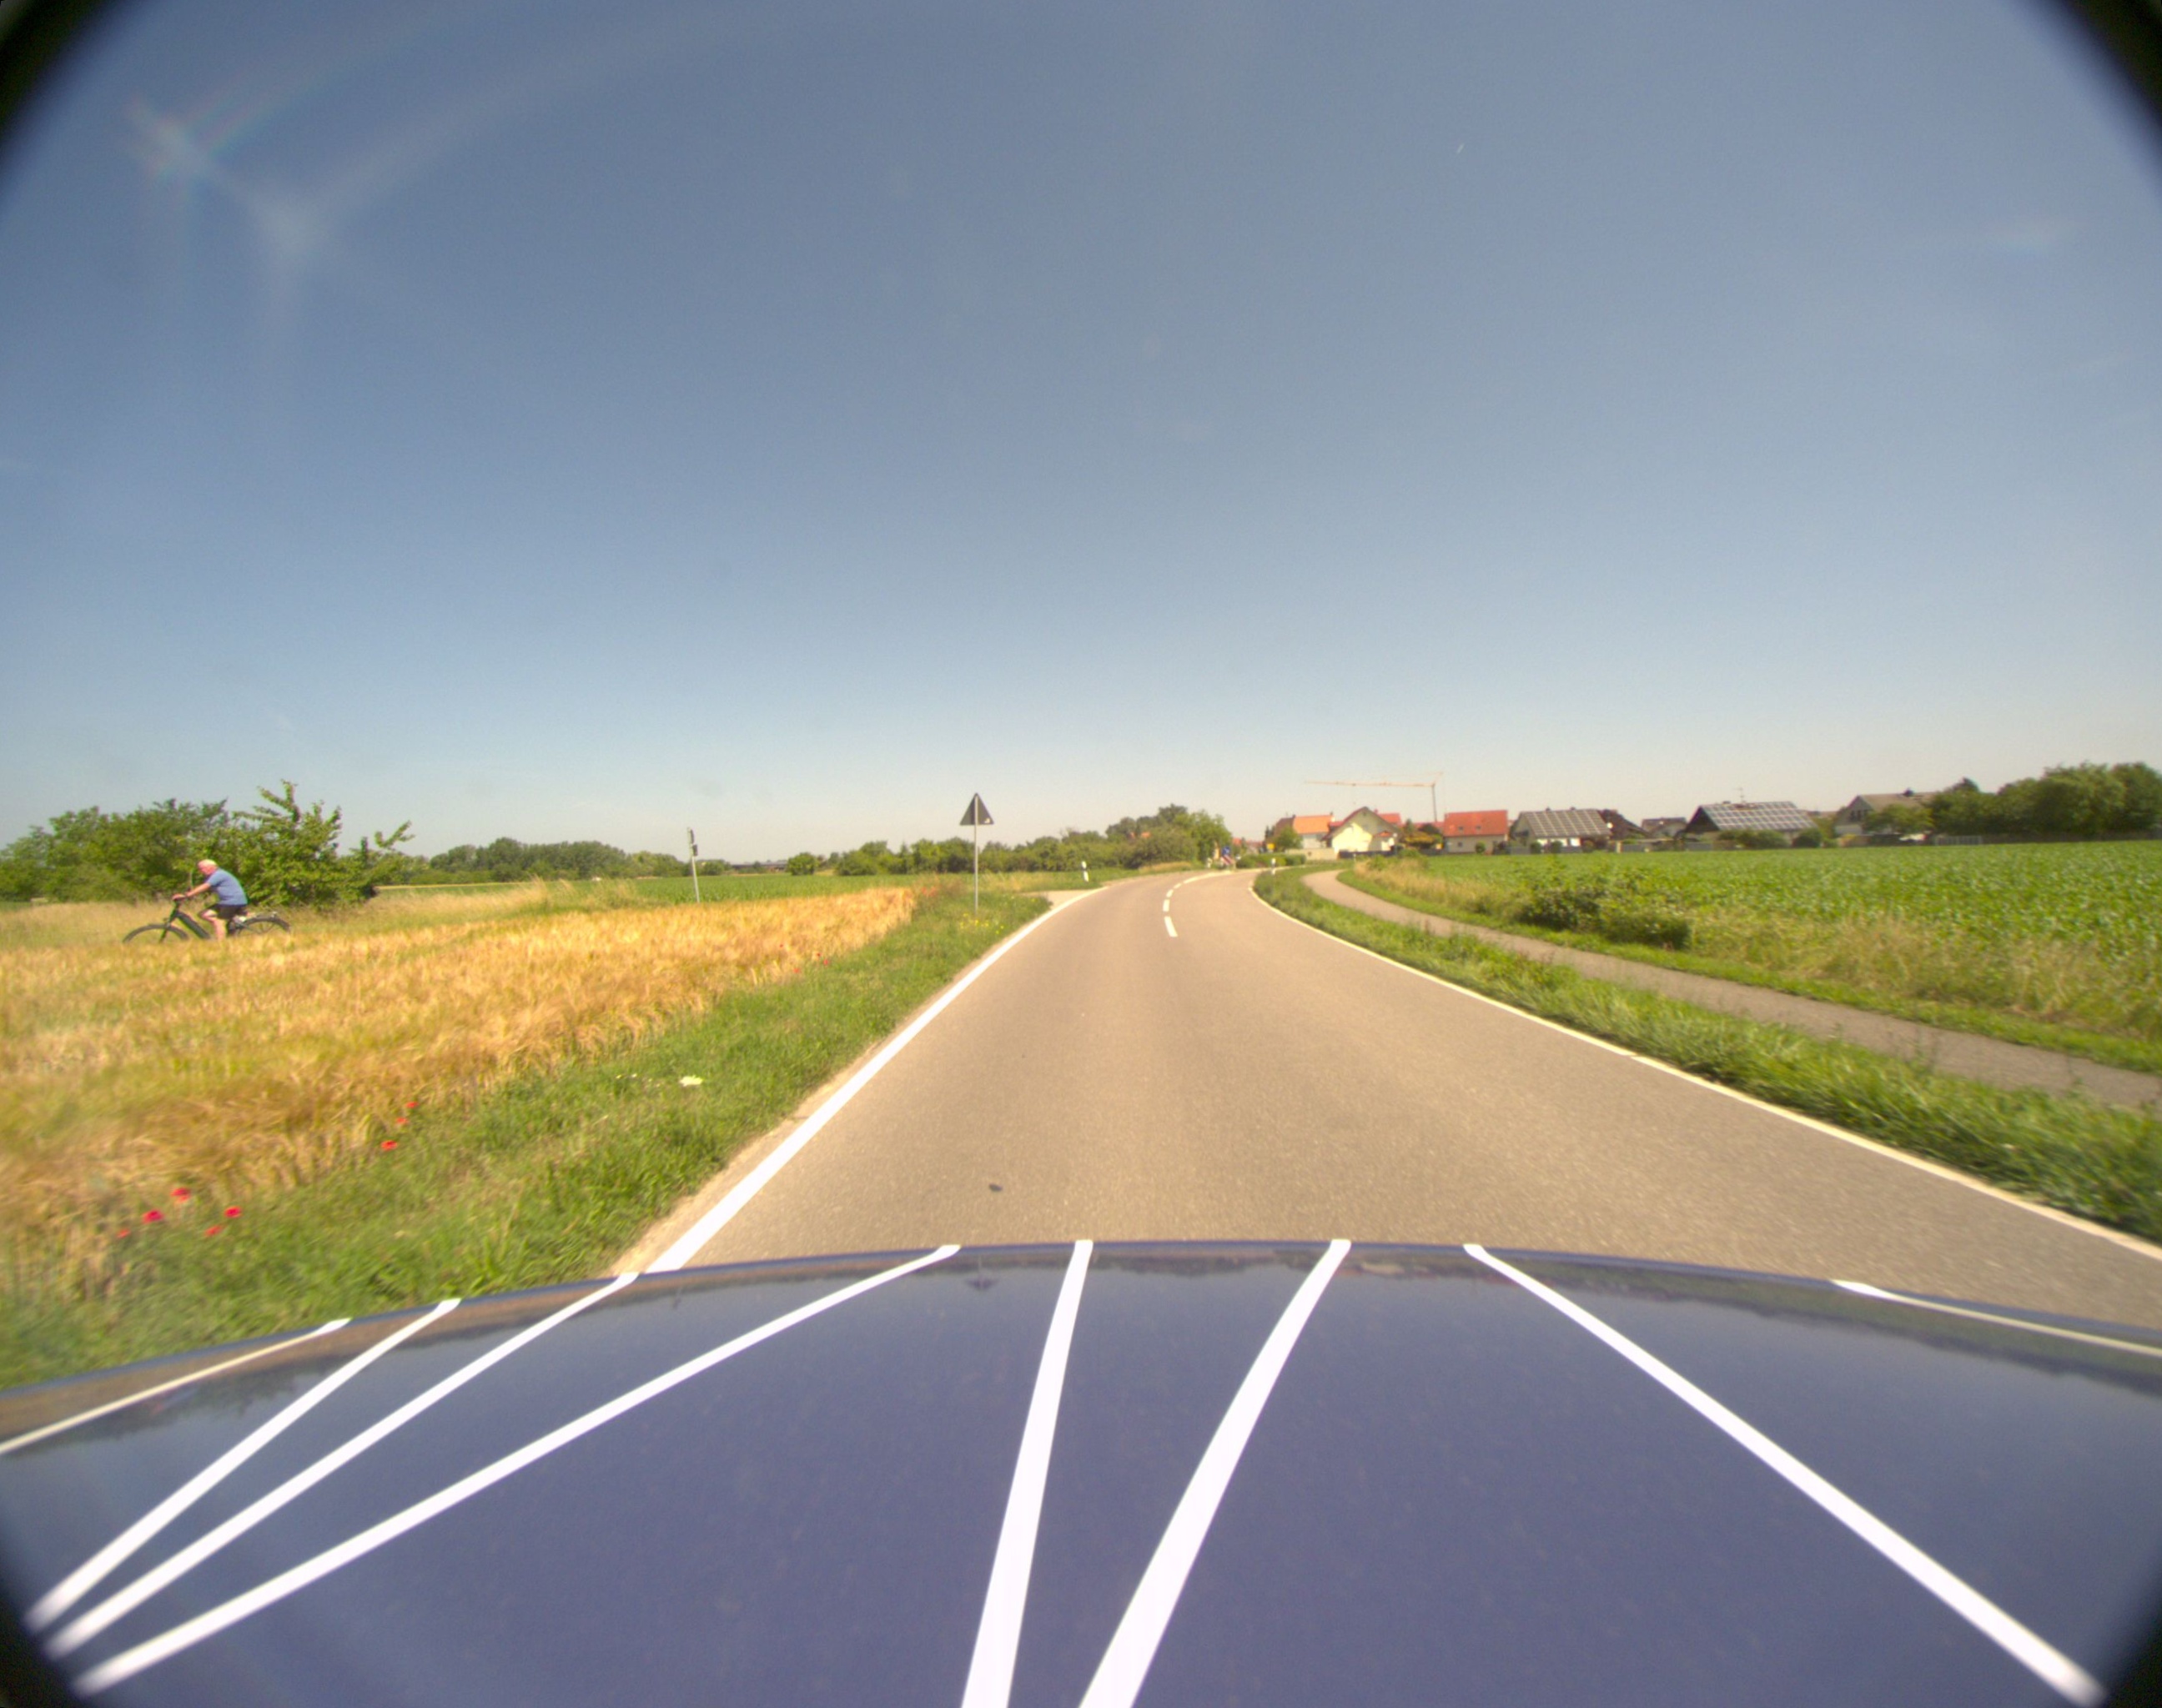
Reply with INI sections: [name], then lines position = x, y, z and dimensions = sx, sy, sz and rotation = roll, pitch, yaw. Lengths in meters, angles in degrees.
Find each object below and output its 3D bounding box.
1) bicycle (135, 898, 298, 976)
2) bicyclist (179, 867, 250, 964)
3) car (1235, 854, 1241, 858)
[bicycle]
position = -14.650, 1.369, 12.934
dimensions = 0.520, 1.109, 1.773
rotation = -1, 1, 42
[bicyclist]
position = -14.690, 1.020, 12.896
dimensions = 0.673, 1.564, 0.737
rotation = -1, 1, 42
[car]
position = 51.087, 0.558, 246.656
dimensions = 1.731, 1.379, 3.536
rotation = -2, 0, 13
